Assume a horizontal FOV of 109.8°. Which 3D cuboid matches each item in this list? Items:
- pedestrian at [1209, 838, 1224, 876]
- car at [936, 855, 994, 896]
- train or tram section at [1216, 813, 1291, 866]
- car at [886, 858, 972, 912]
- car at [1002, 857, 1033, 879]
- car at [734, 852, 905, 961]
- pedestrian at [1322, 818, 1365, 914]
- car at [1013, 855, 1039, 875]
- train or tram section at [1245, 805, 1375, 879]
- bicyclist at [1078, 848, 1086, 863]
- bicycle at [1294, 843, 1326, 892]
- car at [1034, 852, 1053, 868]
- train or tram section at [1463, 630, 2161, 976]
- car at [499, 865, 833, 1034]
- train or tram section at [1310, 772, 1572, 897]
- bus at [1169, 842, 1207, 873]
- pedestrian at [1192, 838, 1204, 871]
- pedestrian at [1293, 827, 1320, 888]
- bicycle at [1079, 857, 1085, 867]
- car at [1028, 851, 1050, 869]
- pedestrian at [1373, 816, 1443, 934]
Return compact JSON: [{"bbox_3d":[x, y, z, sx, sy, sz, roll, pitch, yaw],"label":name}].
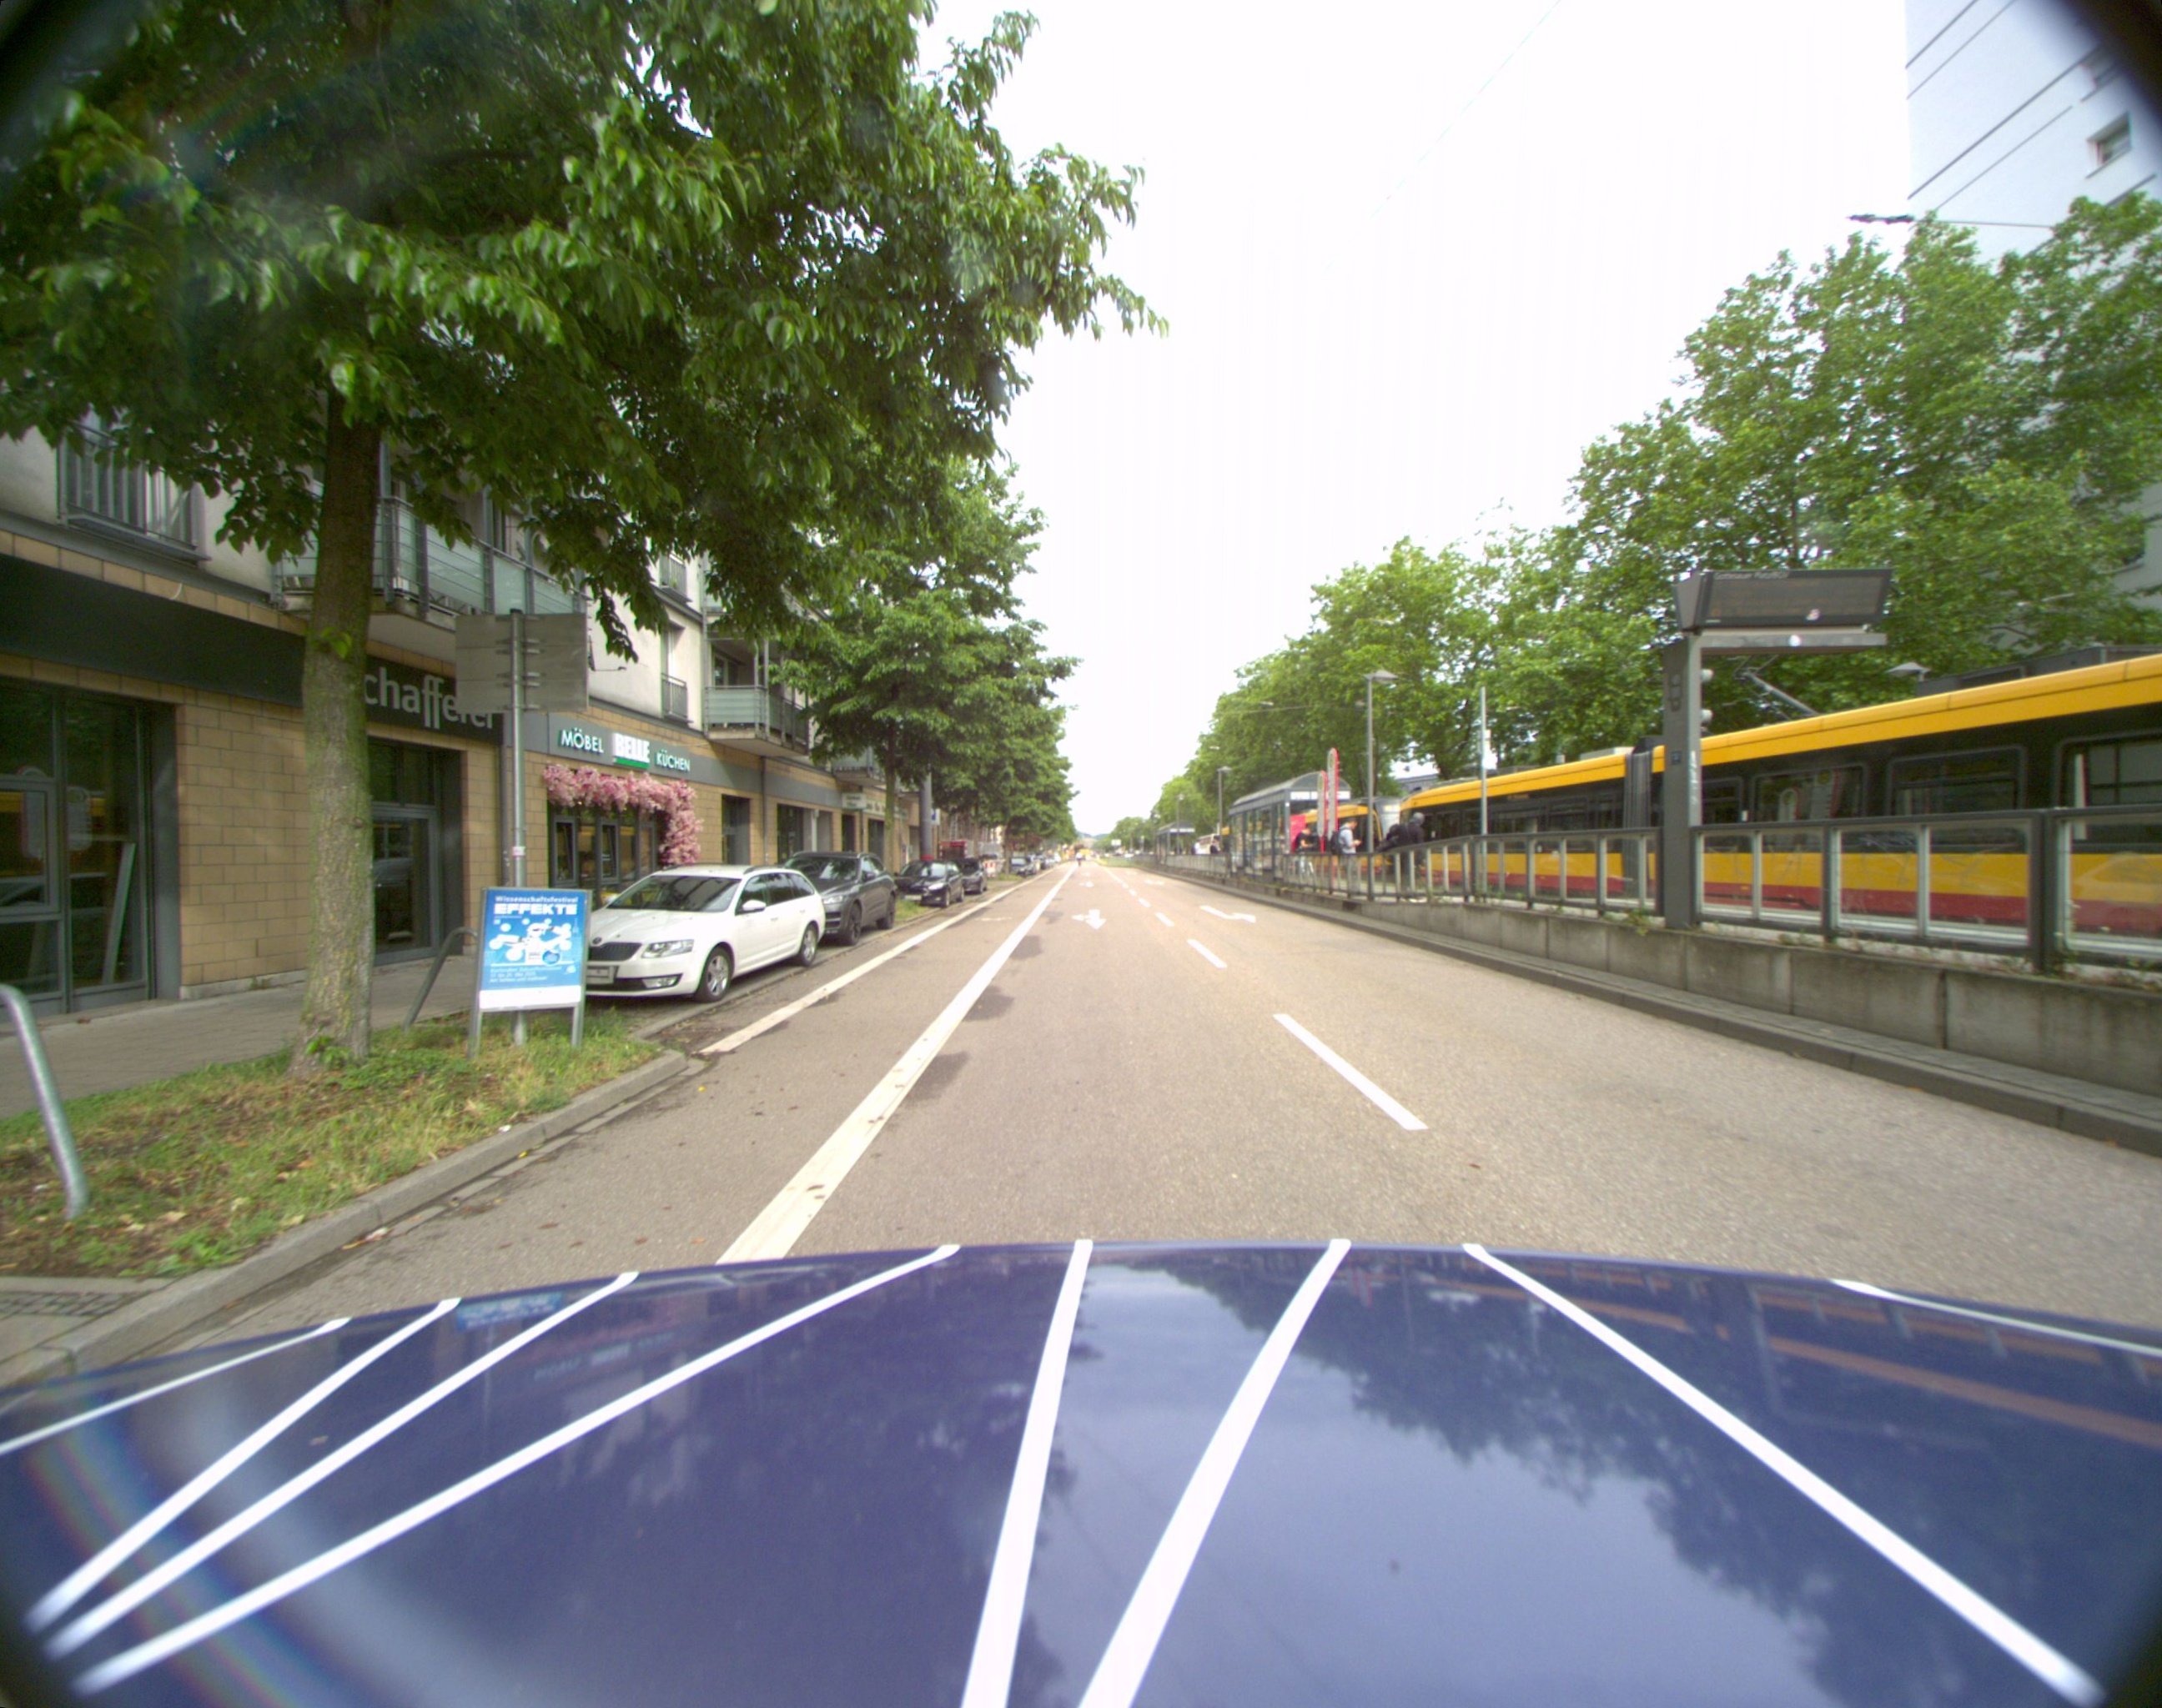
[{"bbox_3d":[5.929,0.132,33.275,0.513,1.623,0.730,-2,1,2],"label":"pedestrian"},{"bbox_3d":[-4.755,0.836,31.629,1.802,1.447,4.387,2,1,-1],"label":"car"},{"bbox_3d":[13.152,-1.082,59.386,3.100,3.541,12.538,-2,1,1],"label":"train or tram section"},{"bbox_3d":[-4.671,0.898,23.963,1.680,1.433,4.408,2,1,2],"label":"car"},{"bbox_3d":[-4.391,0.942,53.113,1.755,1.452,4.279,1,1,0],"label":"car"},{"bbox_3d":[-4.801,0.848,14.735,1.716,1.707,4.710,2,1,-1],"label":"car"},{"bbox_3d":[5.658,0.256,16.366,0.753,2.002,0.819,-2,1,24],"label":"pedestrian"},{"bbox_3d":[-4.242,0.808,59.089,1.755,1.452,4.279,1,1,0],"label":"car"},{"bbox_3d":[12.953,-0.649,45.234,3.067,3.511,15.770,-2,1,1],"label":"train or tram section"},{"bbox_3d":[0.100,0.167,86.465,0.751,1.777,0.838,-2,1,1],"label":"bicyclist"},{"bbox_3d":[5.968,0.335,19.814,0.420,1.215,1.289,-2,1,0],"label":"bicycle"},{"bbox_3d":[-4.147,0.637,84.710,1.837,1.686,3.762,1,1,0],"label":"car"},{"bbox_3d":[12.574,-0.634,14.397,3.067,3.511,15.293,-2,1,1],"label":"train or tram section"},{"bbox_3d":[-4.765,0.965,9.593,1.680,1.490,4.390,2,1,2],"label":"car"},{"bbox_3d":[12.773,-0.626,29.709,3.067,3.511,15.293,-2,1,1],"label":"train or tram section"},{"bbox_3d":[7.292,0.200,52.266,1.998,2.002,4.000,-2,1,1],"label":"bus"},{"bbox_3d":[5.861,0.003,37.964,0.480,1.623,0.392,-2,1,2],"label":"pedestrian"},{"bbox_3d":[6.174,0.093,20.811,0.532,1.623,0.471,-2,1,-2],"label":"pedestrian"},{"bbox_3d":[0.162,0.910,86.422,0.613,1.116,2.050,-2,1,1],"label":"bicycle"},{"bbox_3d":[-4.148,0.598,75.418,1.837,1.720,4.279,1,1,0],"label":"car"},{"bbox_3d":[5.781,0.349,13.446,0.756,2.002,0.816,-3,1,-36],"label":"pedestrian"}]
